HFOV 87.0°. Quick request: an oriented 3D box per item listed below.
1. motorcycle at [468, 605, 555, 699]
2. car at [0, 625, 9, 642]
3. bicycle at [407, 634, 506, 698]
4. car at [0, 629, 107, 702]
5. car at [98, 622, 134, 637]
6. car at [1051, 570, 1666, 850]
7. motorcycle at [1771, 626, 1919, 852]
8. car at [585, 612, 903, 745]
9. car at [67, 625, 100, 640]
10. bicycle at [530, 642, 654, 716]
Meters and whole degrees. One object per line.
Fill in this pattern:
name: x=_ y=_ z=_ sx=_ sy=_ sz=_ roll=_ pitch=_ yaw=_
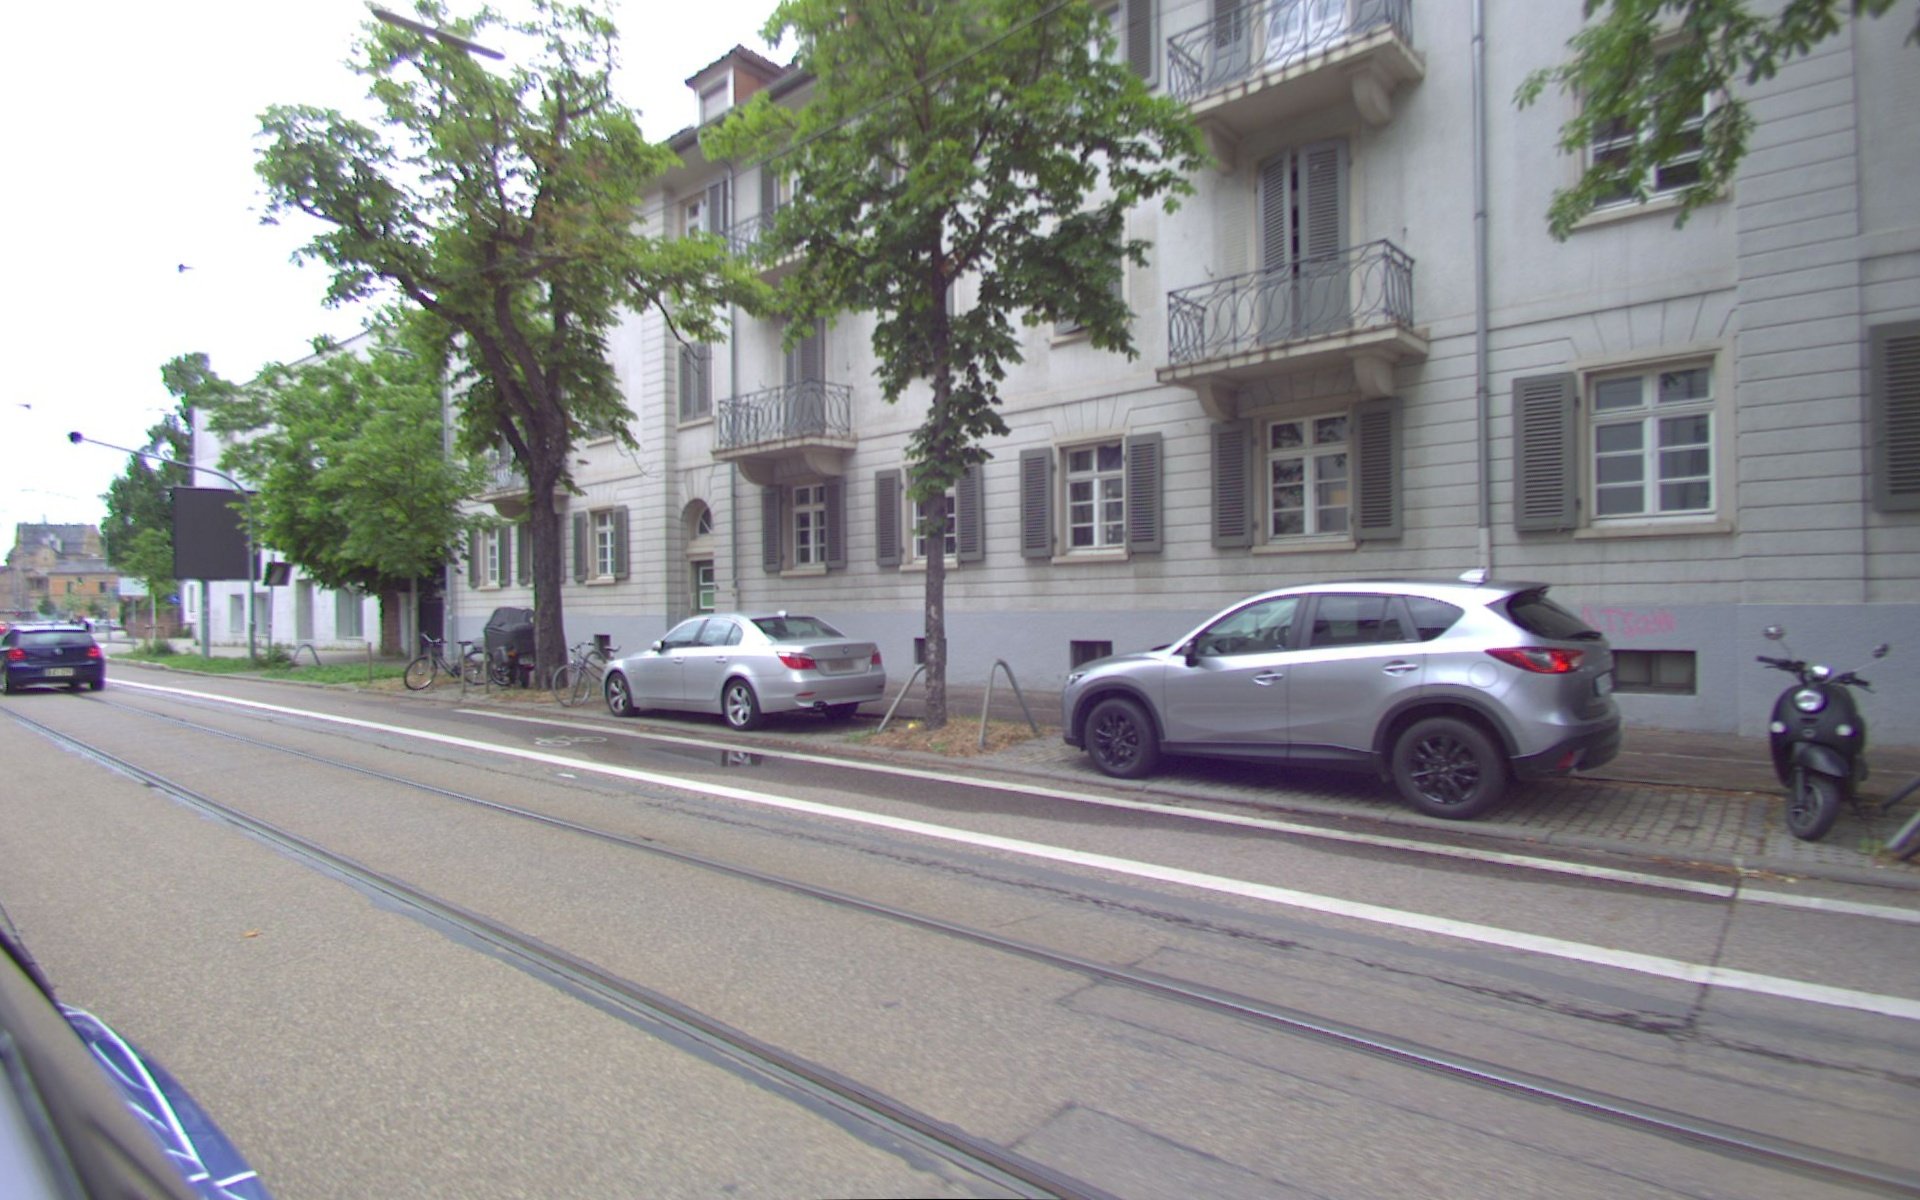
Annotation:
motorcycle: x=-8.505 y=0.949 z=19.115 sx=0.822 sy=1.655 sz=2.484 roll=0 pitch=-1 yaw=-41
car: x=-90.173 y=3.134 z=94.308 sx=1.732 sy=1.510 sz=4.010 roll=1 pitch=-2 yaw=-35
bicycle: x=-10.091 y=1.310 z=20.309 sx=1.718 sy=1.137 sz=0.519 roll=-3 pitch=0 yaw=-31
car: x=-20.017 y=1.361 z=22.006 sx=3.653 sy=1.419 sz=1.711 roll=-2 pitch=-1 yaw=41
car: x=-97.950 y=3.442 z=117.503 sx=1.658 sy=1.663 sz=3.991 roll=-1 pitch=0 yaw=-15
car: x=3.035 y=0.694 z=8.289 sx=4.292 sy=1.673 sz=1.818 roll=-2 pitch=1 yaw=42
motorcycle: x=5.595 y=0.804 z=6.377 sx=1.270 sy=1.231 sz=0.548 roll=-2 pitch=0 yaw=-43
car: x=-3.060 y=0.945 z=13.694 sx=4.611 sy=1.477 sz=1.793 roll=-2 pitch=0 yaw=41
car: x=-95.580 y=3.509 z=110.393 sx=1.469 sy=1.520 sz=3.479 roll=0 pitch=-1 yaw=-16
bicycle: x=-5.942 y=1.245 z=16.455 sx=0.563 sy=1.035 sz=1.877 roll=-2 pitch=0 yaw=37
